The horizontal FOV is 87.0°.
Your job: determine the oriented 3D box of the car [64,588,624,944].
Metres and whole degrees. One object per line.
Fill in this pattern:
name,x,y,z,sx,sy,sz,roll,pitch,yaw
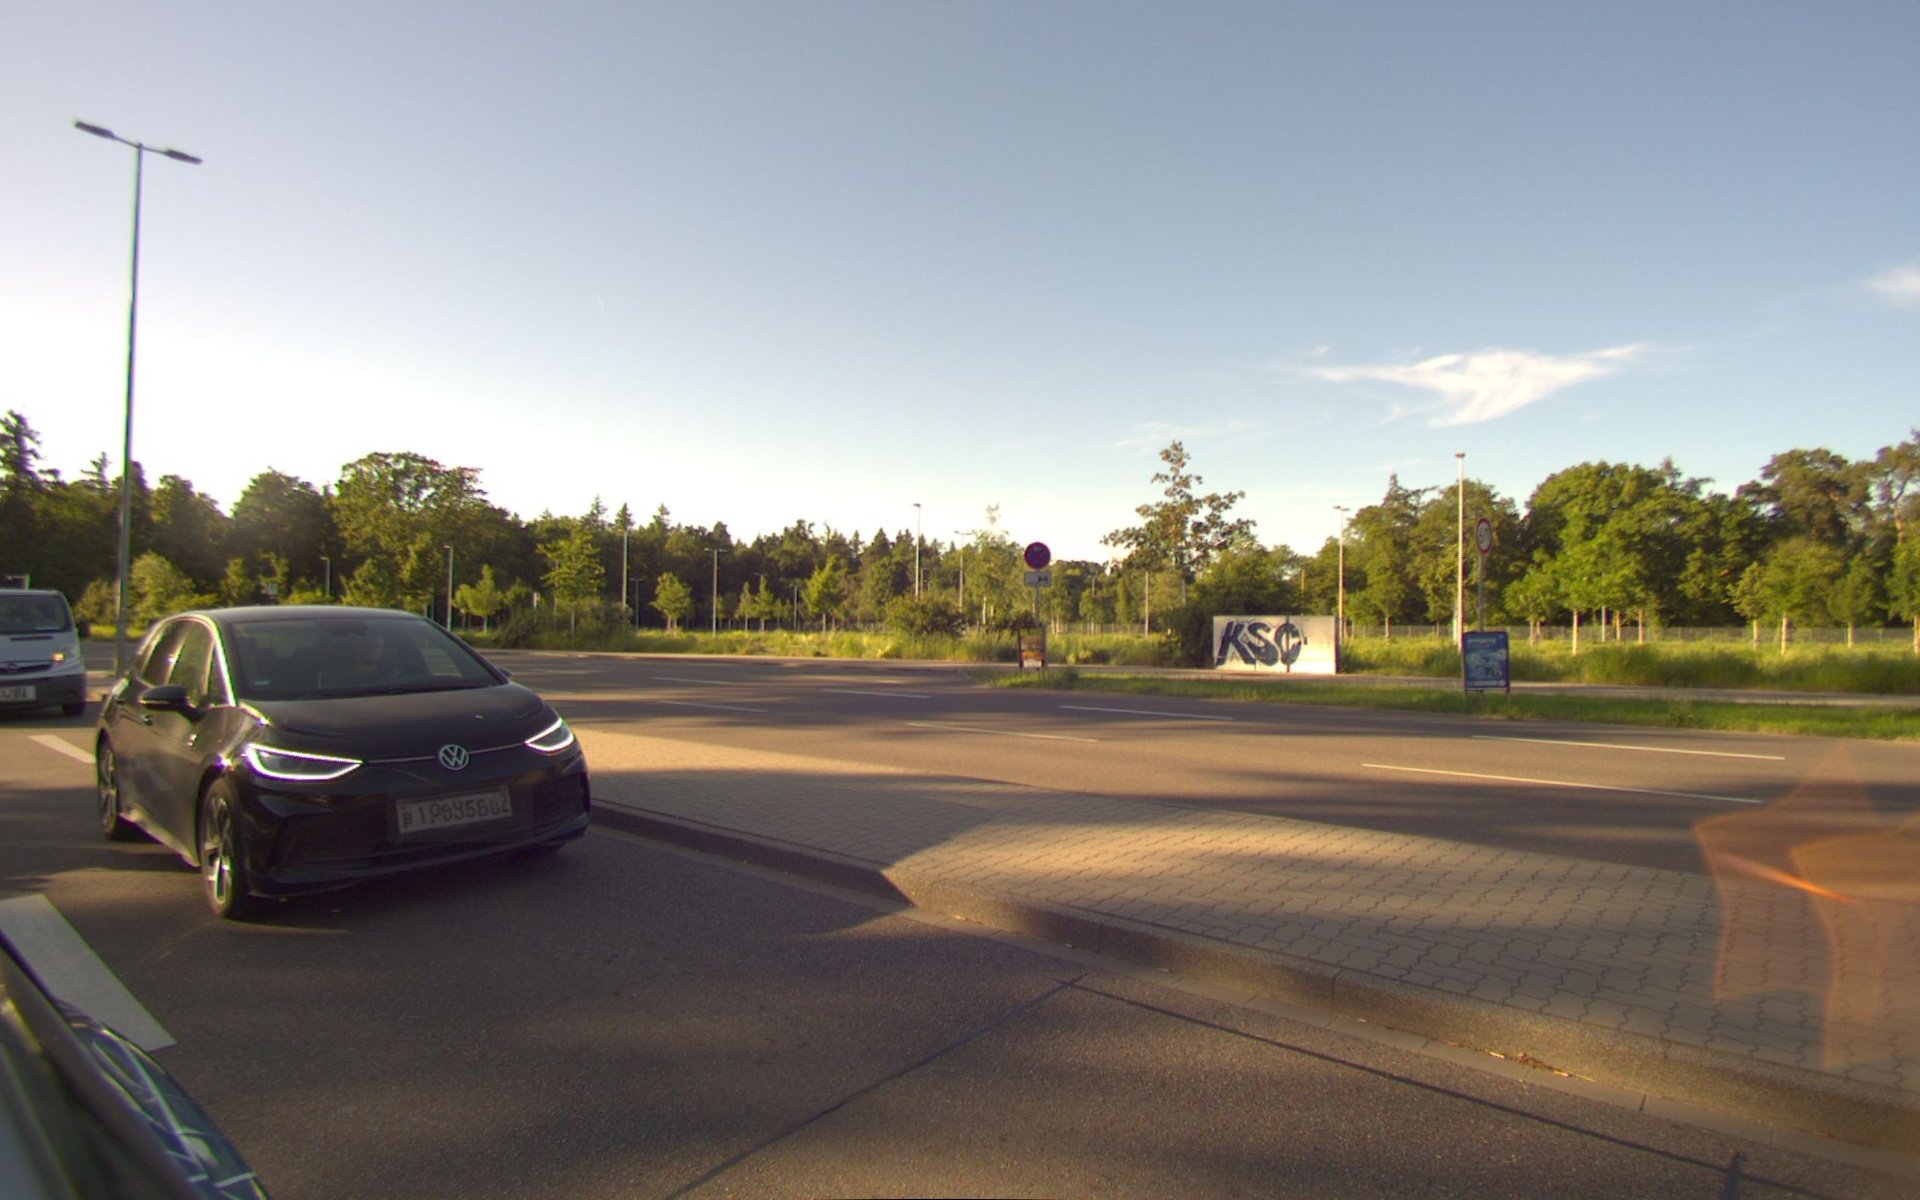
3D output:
car,-4.058,0.732,6.408,3.997,1.548,1.859,-1,0,40

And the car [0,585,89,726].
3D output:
car,-15.401,0.842,15.879,5.044,1.977,1.859,-2,-1,40
